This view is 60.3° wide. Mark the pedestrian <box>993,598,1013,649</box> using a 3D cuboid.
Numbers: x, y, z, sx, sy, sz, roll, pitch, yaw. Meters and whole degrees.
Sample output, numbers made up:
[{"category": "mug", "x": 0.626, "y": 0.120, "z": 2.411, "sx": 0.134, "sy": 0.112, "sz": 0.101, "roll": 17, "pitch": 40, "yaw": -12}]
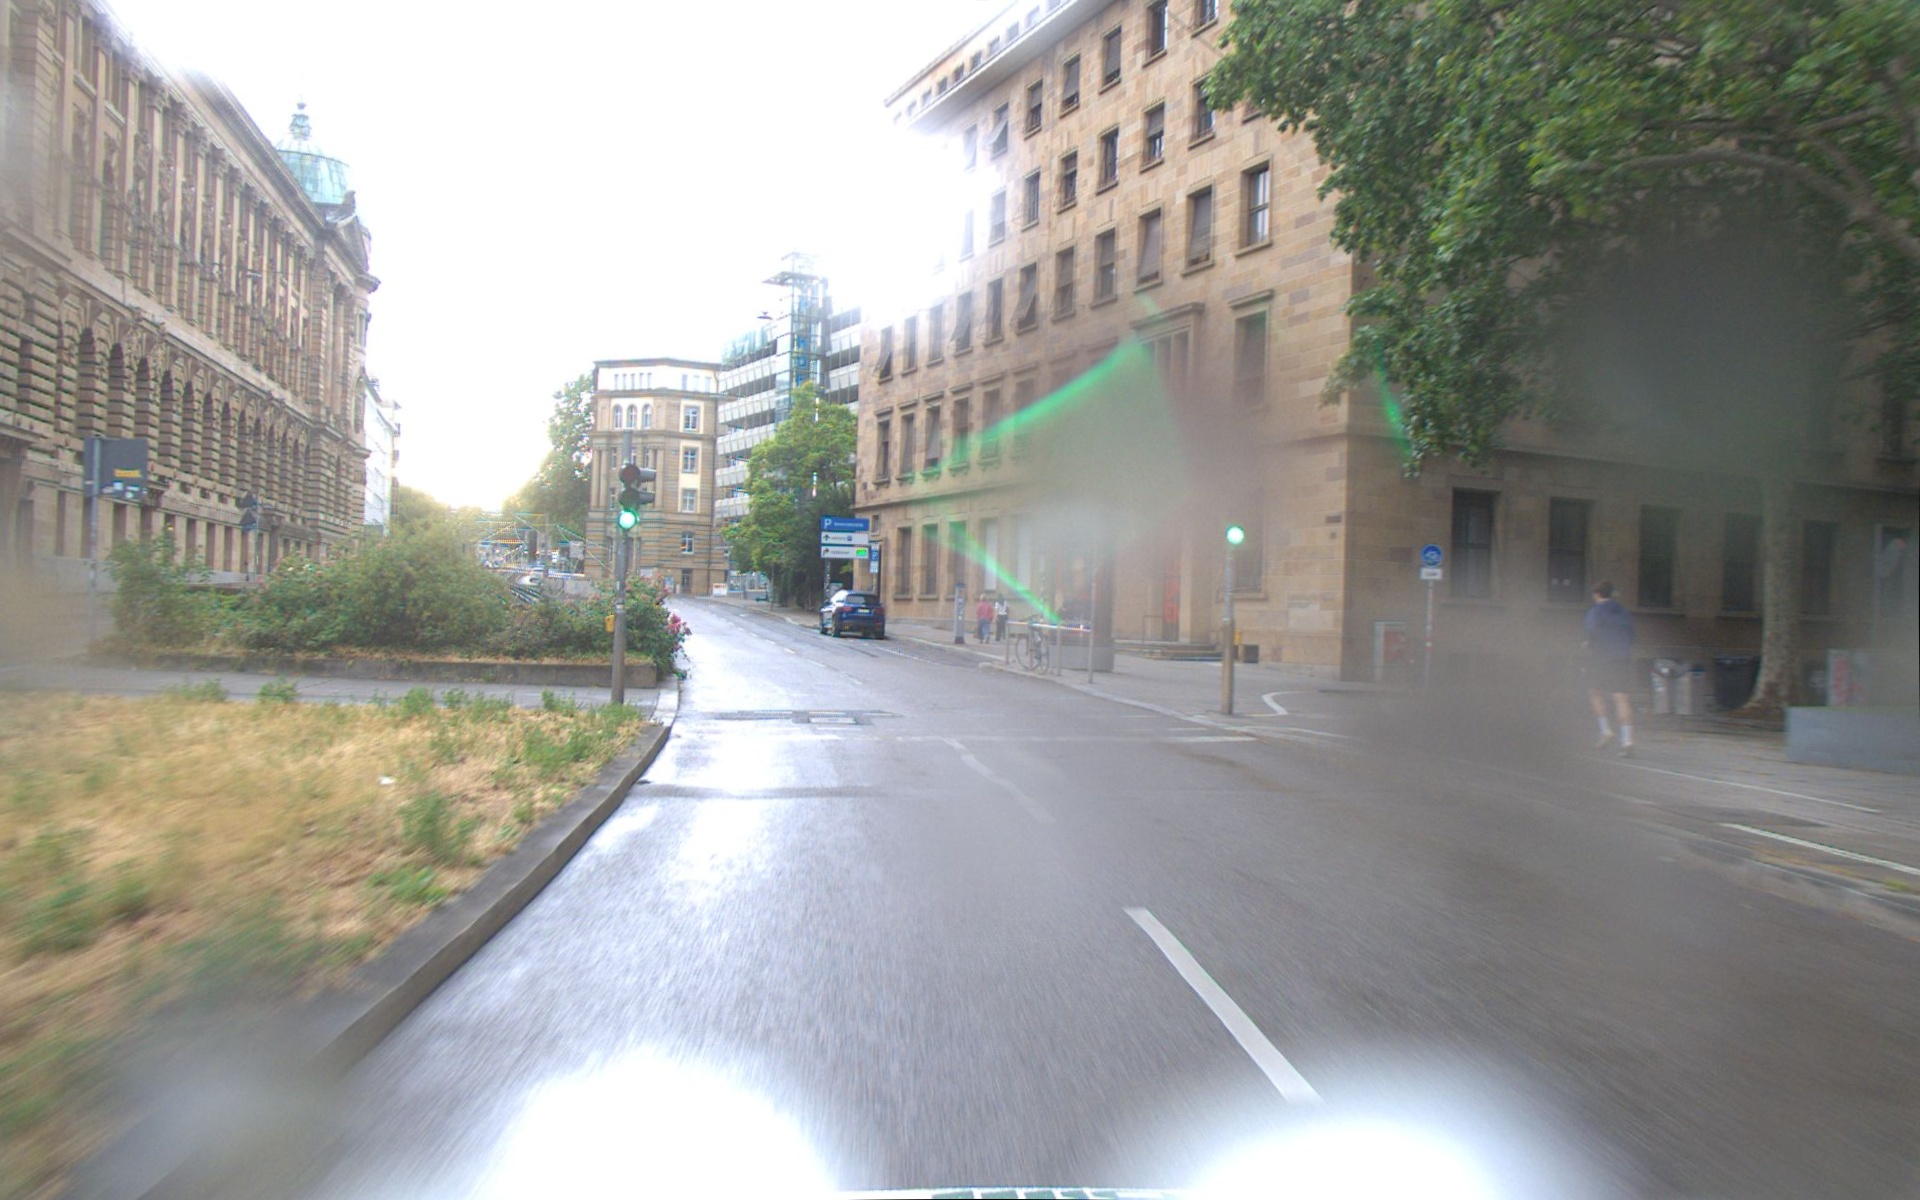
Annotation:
[{"category": "pedestrian", "x": 1.403, "y": 0.776, "z": 53.944, "sx": 0.515, "sy": 1.630, "sz": 0.672, "roll": 2, "pitch": 0, "yaw": -9}]

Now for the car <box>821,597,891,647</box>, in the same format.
[{"category": "car", "x": -3.803, "y": 0.768, "z": 59.659, "sx": 1.738, "sy": 1.647, "sz": 4.142, "roll": 2, "pitch": 0, "yaw": -14}]

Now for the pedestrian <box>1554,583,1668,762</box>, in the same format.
[{"category": "pedestrian", "x": 6.766, "y": 0.735, "z": 17.228, "sx": 0.764, "sy": 1.803, "sz": 0.862, "roll": 2, "pitch": 0, "yaw": -4}]

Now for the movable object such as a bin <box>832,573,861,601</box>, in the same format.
[{"category": "movable object such as a bin", "x": -5.322, "y": -0.612, "z": 77.410, "sx": 1.217, "sy": 1.333, "sz": 1.230, "roll": 0, "pitch": 1, "yaw": -12}]

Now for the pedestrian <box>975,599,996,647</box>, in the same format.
[{"category": "pedestrian", "x": 0.814, "y": 0.753, "z": 53.628, "sx": 0.515, "sy": 1.518, "sz": 0.672, "roll": 2, "pitch": 0, "yaw": -10}]

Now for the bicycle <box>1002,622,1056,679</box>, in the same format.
[{"category": "bicycle", "x": 1.332, "y": 0.967, "z": 32.377, "sx": 0.481, "sy": 1.030, "sz": 1.920, "roll": 2, "pitch": 0, "yaw": -15}]
